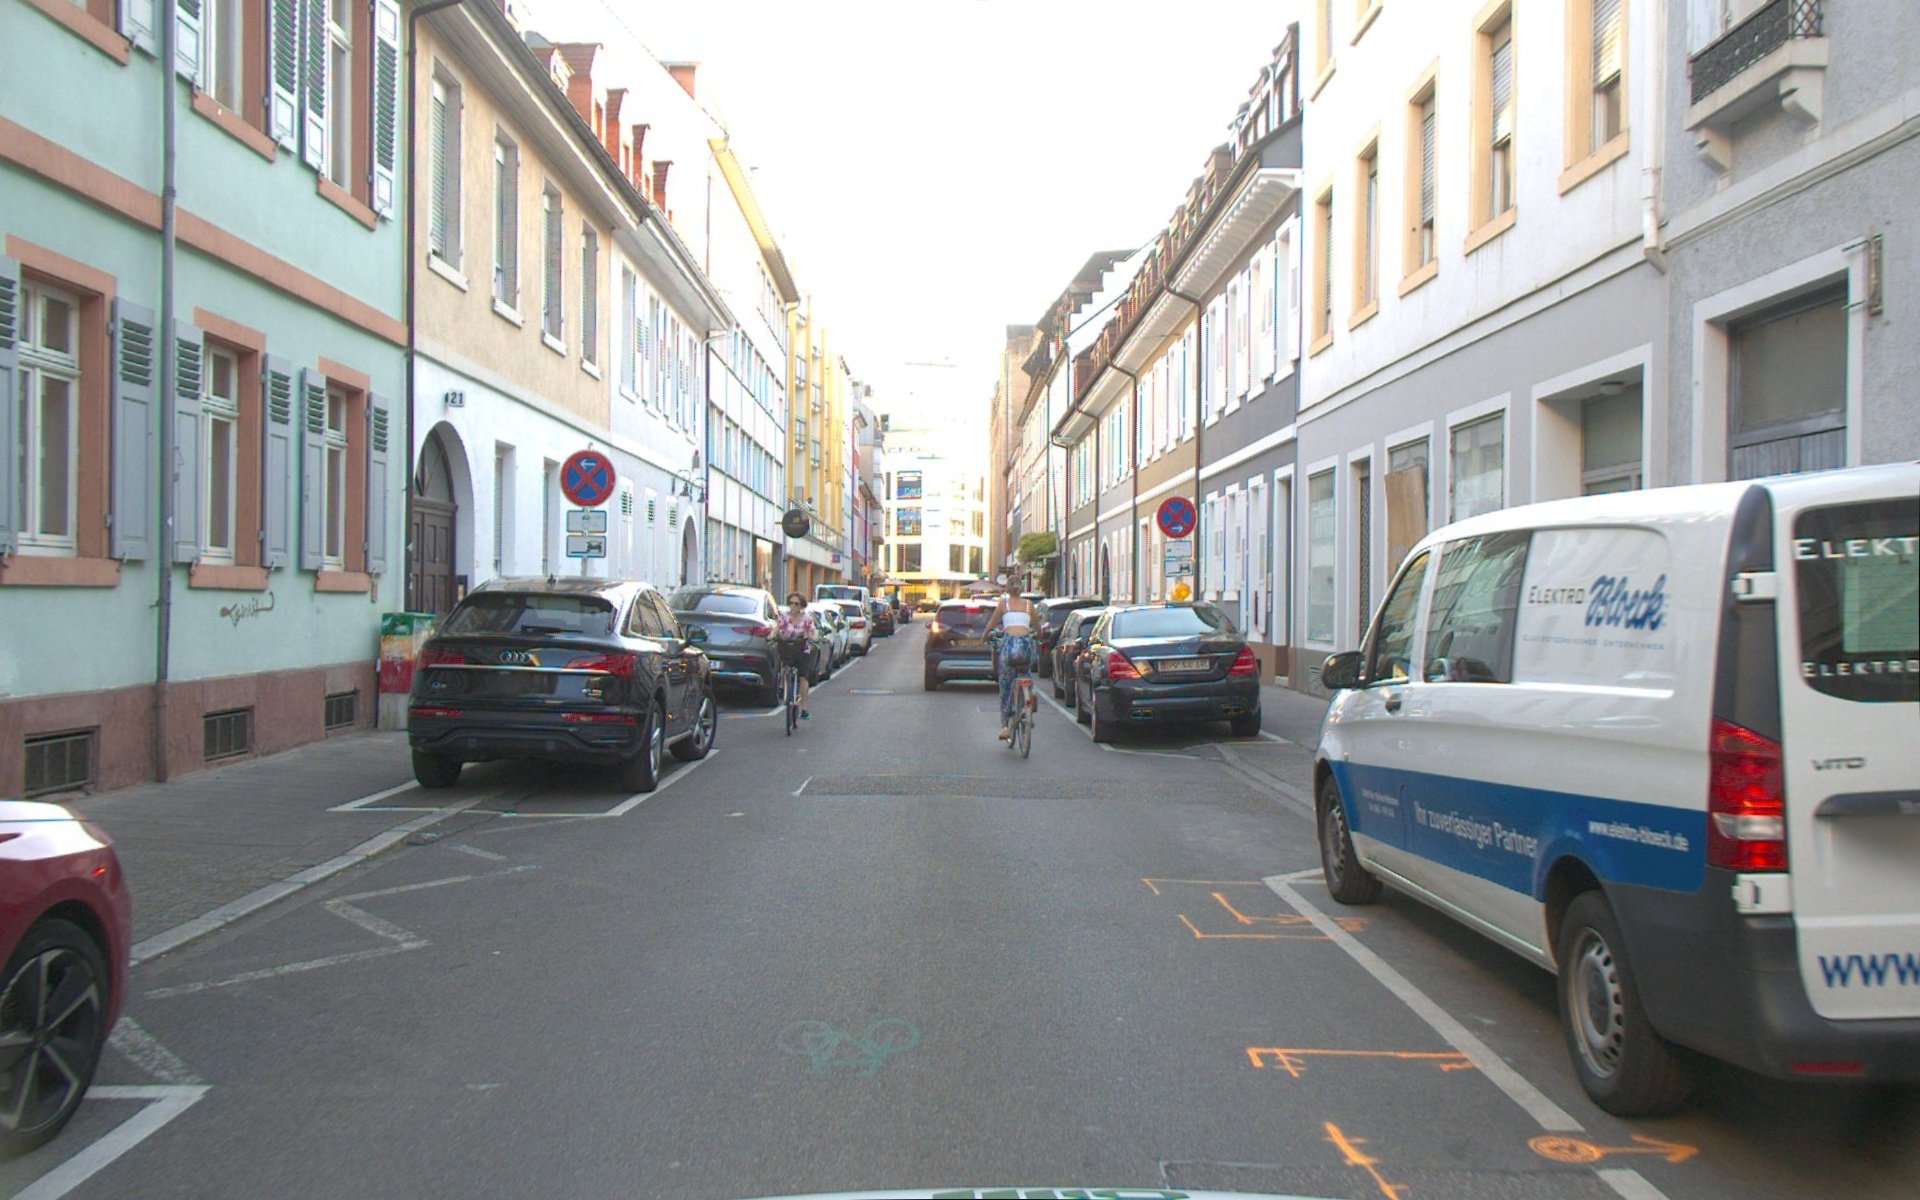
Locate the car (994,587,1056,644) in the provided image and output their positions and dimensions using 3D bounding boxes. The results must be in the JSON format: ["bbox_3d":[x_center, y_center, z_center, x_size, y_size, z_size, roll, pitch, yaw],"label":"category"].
[{"bbox_3d":[1.898,0.441,48.867,1.620,1.588,3.605,2,0,-1],"label":"car"}]

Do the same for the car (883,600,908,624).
[{"bbox_3d":[-4.500,0.823,116.117,1.620,1.588,3.605,2,0,-1],"label":"car"}]

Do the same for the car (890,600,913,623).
[{"bbox_3d":[-4.339,0.848,122.890,1.620,1.588,3.605,2,0,-1],"label":"car"}]

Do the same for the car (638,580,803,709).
[{"bbox_3d":[-3.540,0.626,25.239,1.958,1.737,4.533,2,0,-2],"label":"car"}]

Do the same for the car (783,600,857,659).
[{"bbox_3d":[-3.628,0.734,43.253,1.620,1.435,3.605,2,0,-1],"label":"car"}]

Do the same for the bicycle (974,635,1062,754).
[{"bbox_3d":[0.564,0.932,16.817,0.602,1.101,1.806,1,0,-7],"label":"bicycle"}]

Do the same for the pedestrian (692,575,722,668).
[{"bbox_3d":[-5.663,0.474,36.975,0.598,2.049,0.449,1,-1,-4],"label":"pedestrian"}]

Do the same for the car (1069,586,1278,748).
[{"bbox_3d":[2.360,0.693,19.498,1.782,1.556,5.071,-3,0,1],"label":"car"}]

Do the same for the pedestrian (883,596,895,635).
[{"bbox_3d":[-3.214,0.694,74.725,0.543,1.783,0.568,1,0,-4],"label":"pedestrian"}]

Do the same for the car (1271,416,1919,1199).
[{"bbox_3d":[2.768,0.515,6.542,1.902,1.927,5.316,-3,0,-1],"label":"car"}]

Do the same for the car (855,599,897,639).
[{"bbox_3d":[-3.564,0.797,70.760,1.620,1.588,3.605,2,0,-1],"label":"car"}]

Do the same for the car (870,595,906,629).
[{"bbox_3d":[-3.552,0.595,81.760,1.620,1.588,3.605,2,0,-1],"label":"car"}]

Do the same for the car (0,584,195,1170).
[{"bbox_3d":[-3.184,0.659,2.866,1.729,1.426,4.262,1,0,0],"label":"car"}]

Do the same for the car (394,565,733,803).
[{"bbox_3d":[-3.164,0.608,14.147,1.765,1.706,4.490,0,0,1],"label":"car"}]

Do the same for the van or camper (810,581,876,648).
[{"bbox_3d":[-3.766,0.467,53.999,1.807,2.048,4.677,2,0,-1],"label":"van or camper"}]

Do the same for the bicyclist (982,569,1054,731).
[{"bbox_3d":[0.578,0.501,16.735,0.609,1.602,0.682,1,0,-8],"label":"bicyclist"}]

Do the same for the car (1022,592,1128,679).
[{"bbox_3d":[2.476,0.740,36.533,1.879,1.768,4.151,2,0,-2],"label":"car"}]

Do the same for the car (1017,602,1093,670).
[{"bbox_3d":[2.337,0.862,41.283,1.620,1.588,3.605,2,0,-1],"label":"car"}]

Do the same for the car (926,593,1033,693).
[{"bbox_3d":[0.296,0.739,30.276,1.782,1.646,3.999,2,0,-1],"label":"car"}]

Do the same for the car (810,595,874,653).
[{"bbox_3d":[-3.403,0.669,48.237,1.620,1.588,3.605,2,0,-1],"label":"car"}]

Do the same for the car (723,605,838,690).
[{"bbox_3d":[-3.387,0.858,31.886,1.879,1.459,4.291,2,0,-2],"label":"car"}]

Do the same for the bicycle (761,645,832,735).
[{"bbox_3d":[-1.890,1.024,19.317,0.601,0.949,1.886,1,0,1],"label":"bicycle"}]

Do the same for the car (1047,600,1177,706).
[{"bbox_3d":[2.350,0.787,26.432,1.642,1.512,3.999,2,0,-1],"label":"car"}]

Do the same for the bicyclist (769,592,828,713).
[{"bbox_3d":[-1.888,0.608,19.418,0.593,1.393,0.621,1,0,1],"label":"bicyclist"}]

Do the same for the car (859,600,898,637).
[{"bbox_3d":[-3.737,0.834,76.062,1.620,1.588,3.605,2,0,-1],"label":"car"}]

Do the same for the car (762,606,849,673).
[{"bbox_3d":[-3.512,0.871,38.163,1.620,1.435,3.902,2,0,-1],"label":"car"}]
